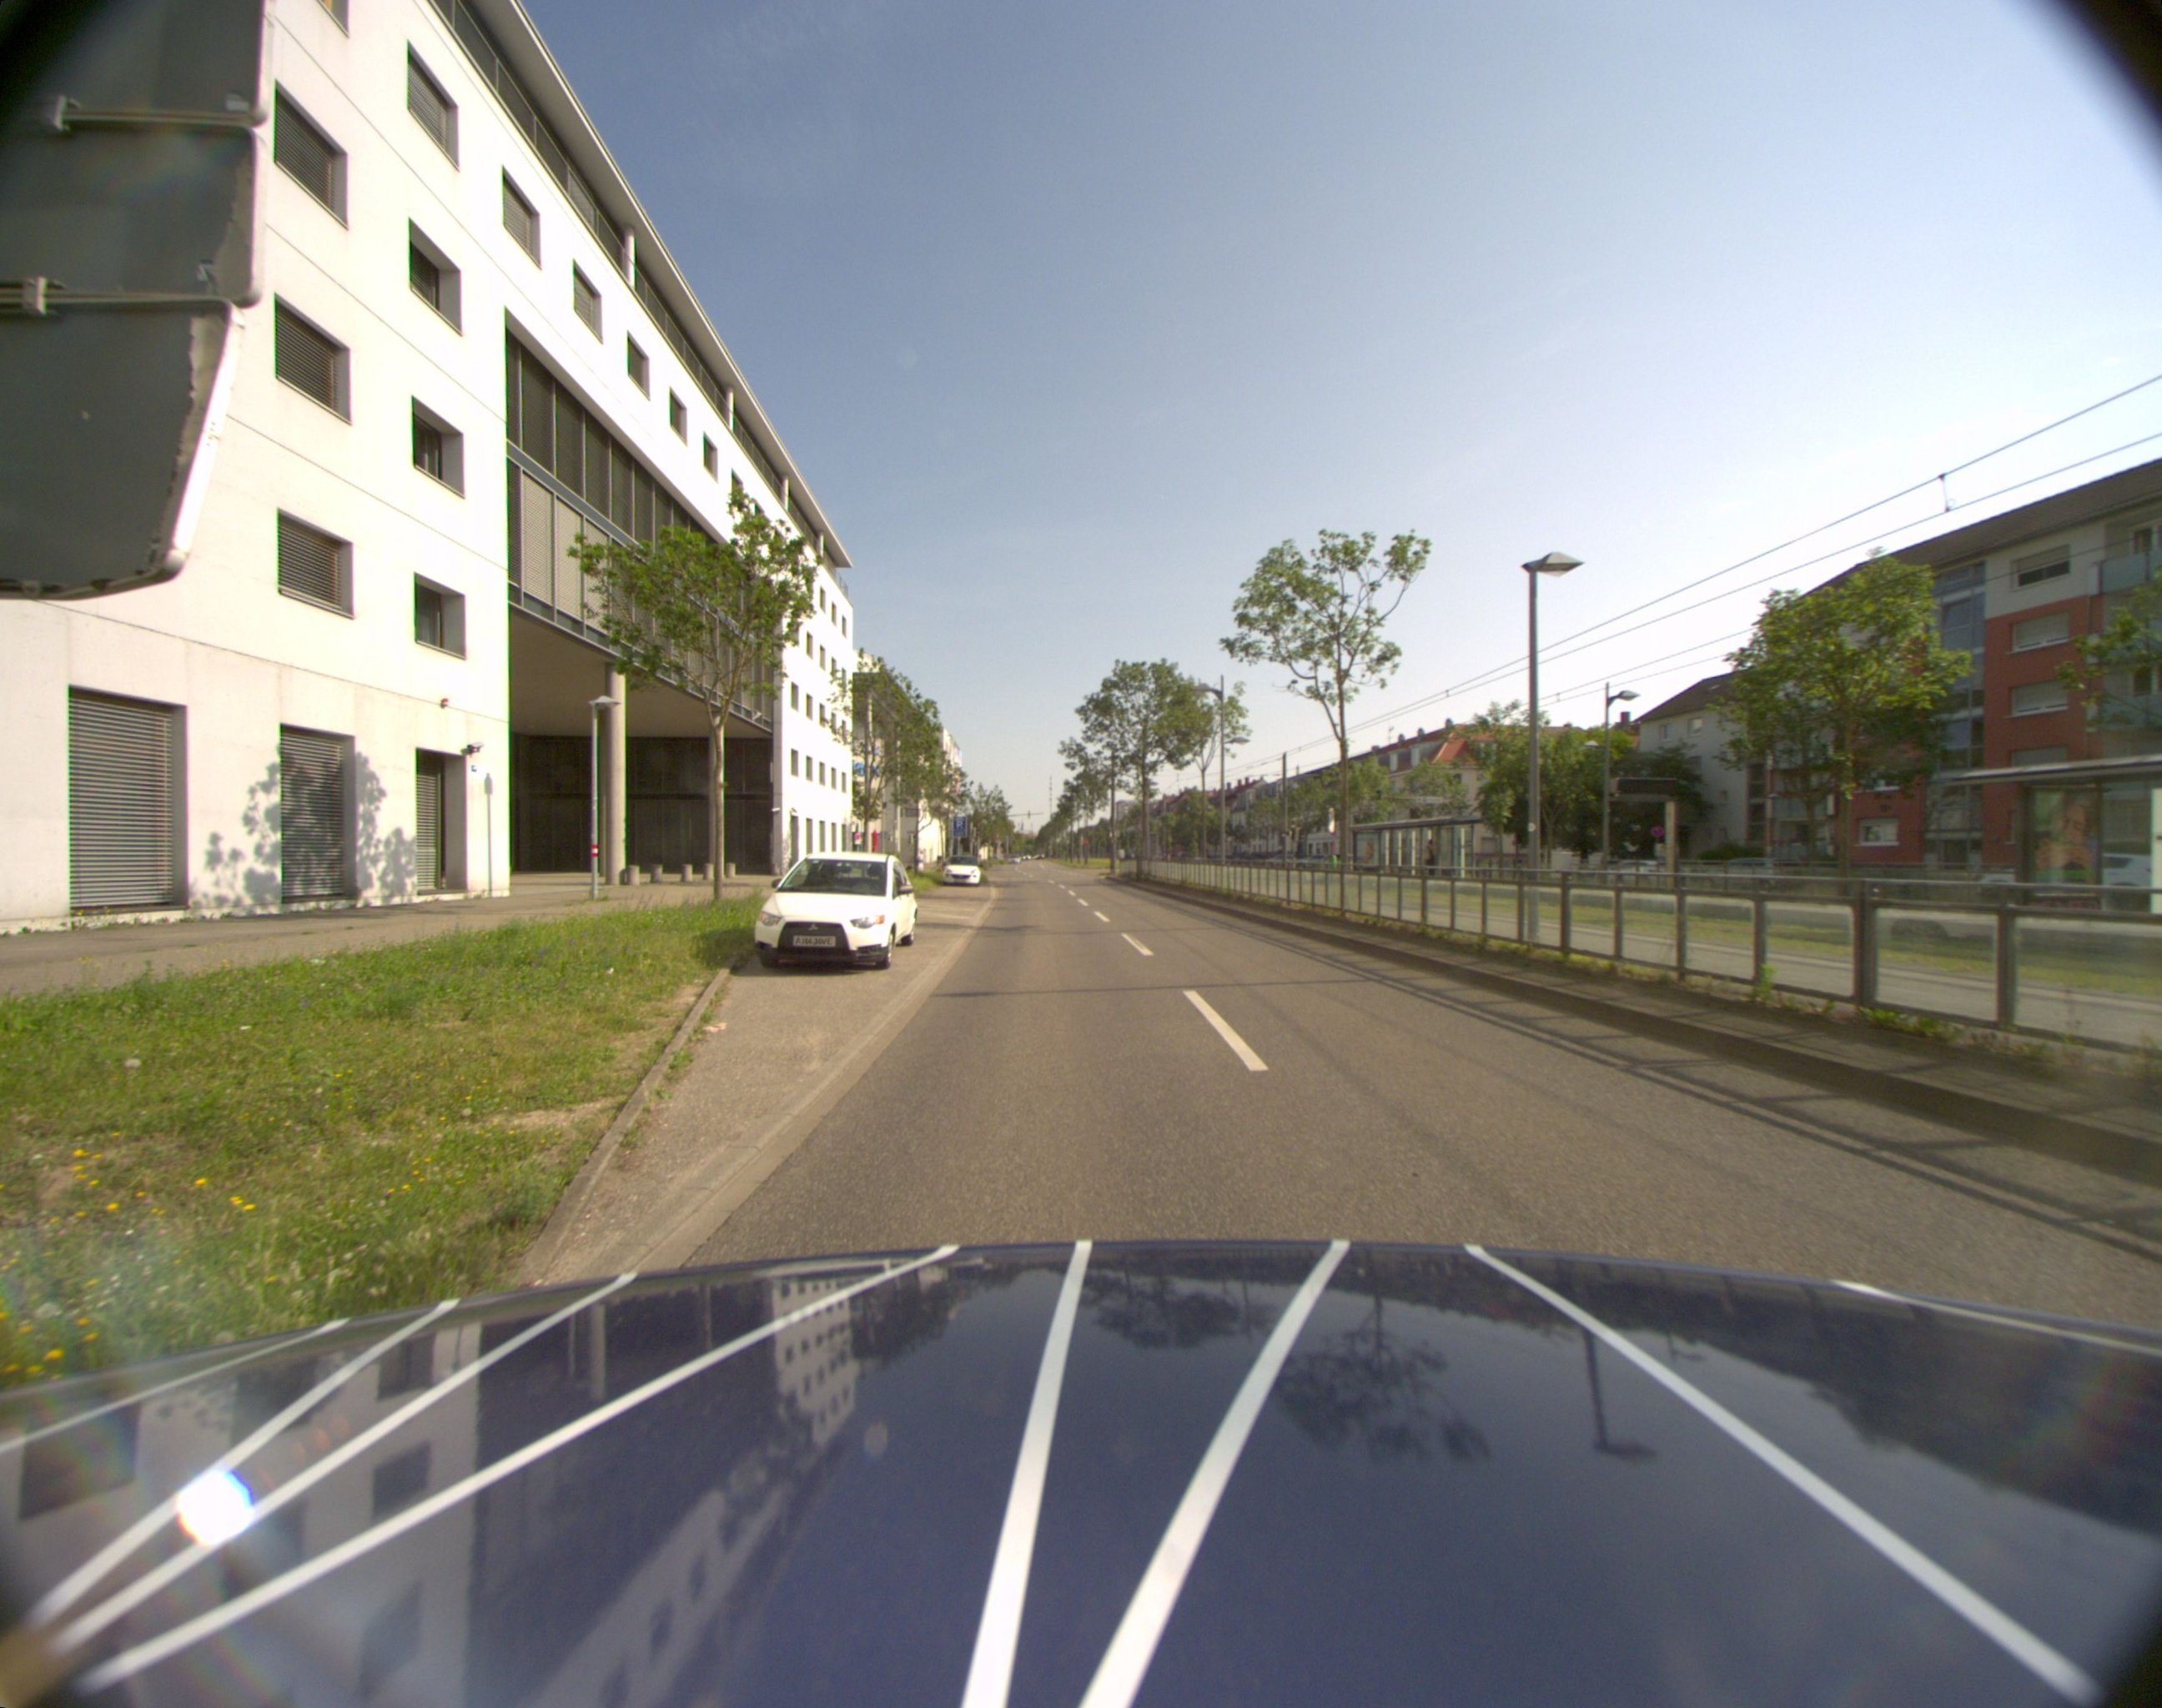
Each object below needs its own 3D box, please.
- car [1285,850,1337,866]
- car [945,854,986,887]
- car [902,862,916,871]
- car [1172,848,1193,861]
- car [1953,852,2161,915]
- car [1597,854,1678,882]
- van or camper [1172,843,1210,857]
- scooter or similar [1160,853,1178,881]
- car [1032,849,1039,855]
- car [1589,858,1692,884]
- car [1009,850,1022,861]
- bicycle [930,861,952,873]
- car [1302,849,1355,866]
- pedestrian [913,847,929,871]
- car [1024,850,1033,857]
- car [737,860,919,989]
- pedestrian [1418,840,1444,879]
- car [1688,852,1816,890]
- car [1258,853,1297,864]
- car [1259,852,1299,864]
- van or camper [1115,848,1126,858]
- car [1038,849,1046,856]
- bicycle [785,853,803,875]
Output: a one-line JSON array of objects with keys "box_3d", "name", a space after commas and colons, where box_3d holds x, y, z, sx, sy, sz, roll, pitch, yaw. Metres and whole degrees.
[{"box_3d": [22.676, 0.408, 74.962, 4.452, 1.505, 2.004, -1, 1, 32], "name": "car"}, {"box_3d": [-5.593, 0.766, 37.012, 1.725, 1.510, 3.779, 0, 0, -5], "name": "car"}, {"box_3d": [-11.457, 0.803, 50.644, 0.766, 0.584, 0.499, 0, 1, 25], "name": "car"}, {"box_3d": [15.006, 0.078, 112.204, 1.999, 1.696, 4.710, 3, 0, -5], "name": "car"}, {"box_3d": [28.931, 0.755, 22.011, 1.986, 1.547, 4.534, -2, 1, -5], "name": "car"}, {"box_3d": [37.240, 0.924, 50.866, 3.998, 1.685, 1.999, -2, 1, -3], "name": "car"}, {"box_3d": [19.632, -0.675, 135.894, 6.144, 2.532, 2.419, 0, 1, 34], "name": "van or camper"}, {"box_3d": [3.888, 0.554, 33.402, 0.426, 1.232, 1.264, 1, 1, 23], "name": "scooter or similar"}, {"box_3d": [-14.046, -0.664, 235.424, 1.999, 1.652, 3.998, 0, 0, -4], "name": "car"}, {"box_3d": [27.543, 0.800, 37.594, 1.838, 1.141, 4.162, -2, 1, -5], "name": "car"}, {"box_3d": [-9.967, 0.178, 115.588, 1.999, 1.652, 3.998, 0, 0, -4], "name": "car"}, {"box_3d": [-9.400, 0.882, 51.085, 1.273, 0.629, 0.521, 6, 1, 3], "name": "bicycle"}, {"box_3d": [23.270, 0.356, 71.475, 4.342, 1.455, 1.967, -1, 1, 29], "name": "car"}, {"box_3d": [-10.627, 0.313, 50.593, 0.778, 1.606, 0.714, 1, 1, 23], "name": "pedestrian"}, {"box_3d": [-11.814, -0.147, 171.242, 1.999, 1.652, 3.998, 0, 0, -4], "name": "car"}, {"box_3d": [-3.419, 0.844, 10.991, 1.694, 1.517, 3.848, 0, 0, -6], "name": "car"}, {"box_3d": [15.079, 0.226, 32.740, 0.674, 1.643, 0.794, 0, 1, -8], "name": "pedestrian"}, {"box_3d": [28.221, 0.669, 32.130, 1.838, 1.462, 3.825, -2, 1, -5], "name": "car"}, {"box_3d": [22.614, 0.497, 87.589, 3.989, 1.251, 1.879, 0, 0, 29], "name": "car"}, {"box_3d": [22.102, 0.457, 84.932, 3.990, 1.262, 1.890, -1, 1, 26], "name": "car"}, {"box_3d": [10.013, -0.381, 192.345, 2.148, 2.459, 6.055, 1, 0, -4], "name": "van or camper"}, {"box_3d": [-9.370, -0.242, 181.918, 1.999, 1.652, 3.998, 0, 0, -4], "name": "car"}, {"box_3d": [-14.569, 0.503, 38.596, 0.495, 1.080, 1.549, 1, 0, -7], "name": "bicycle"}]
